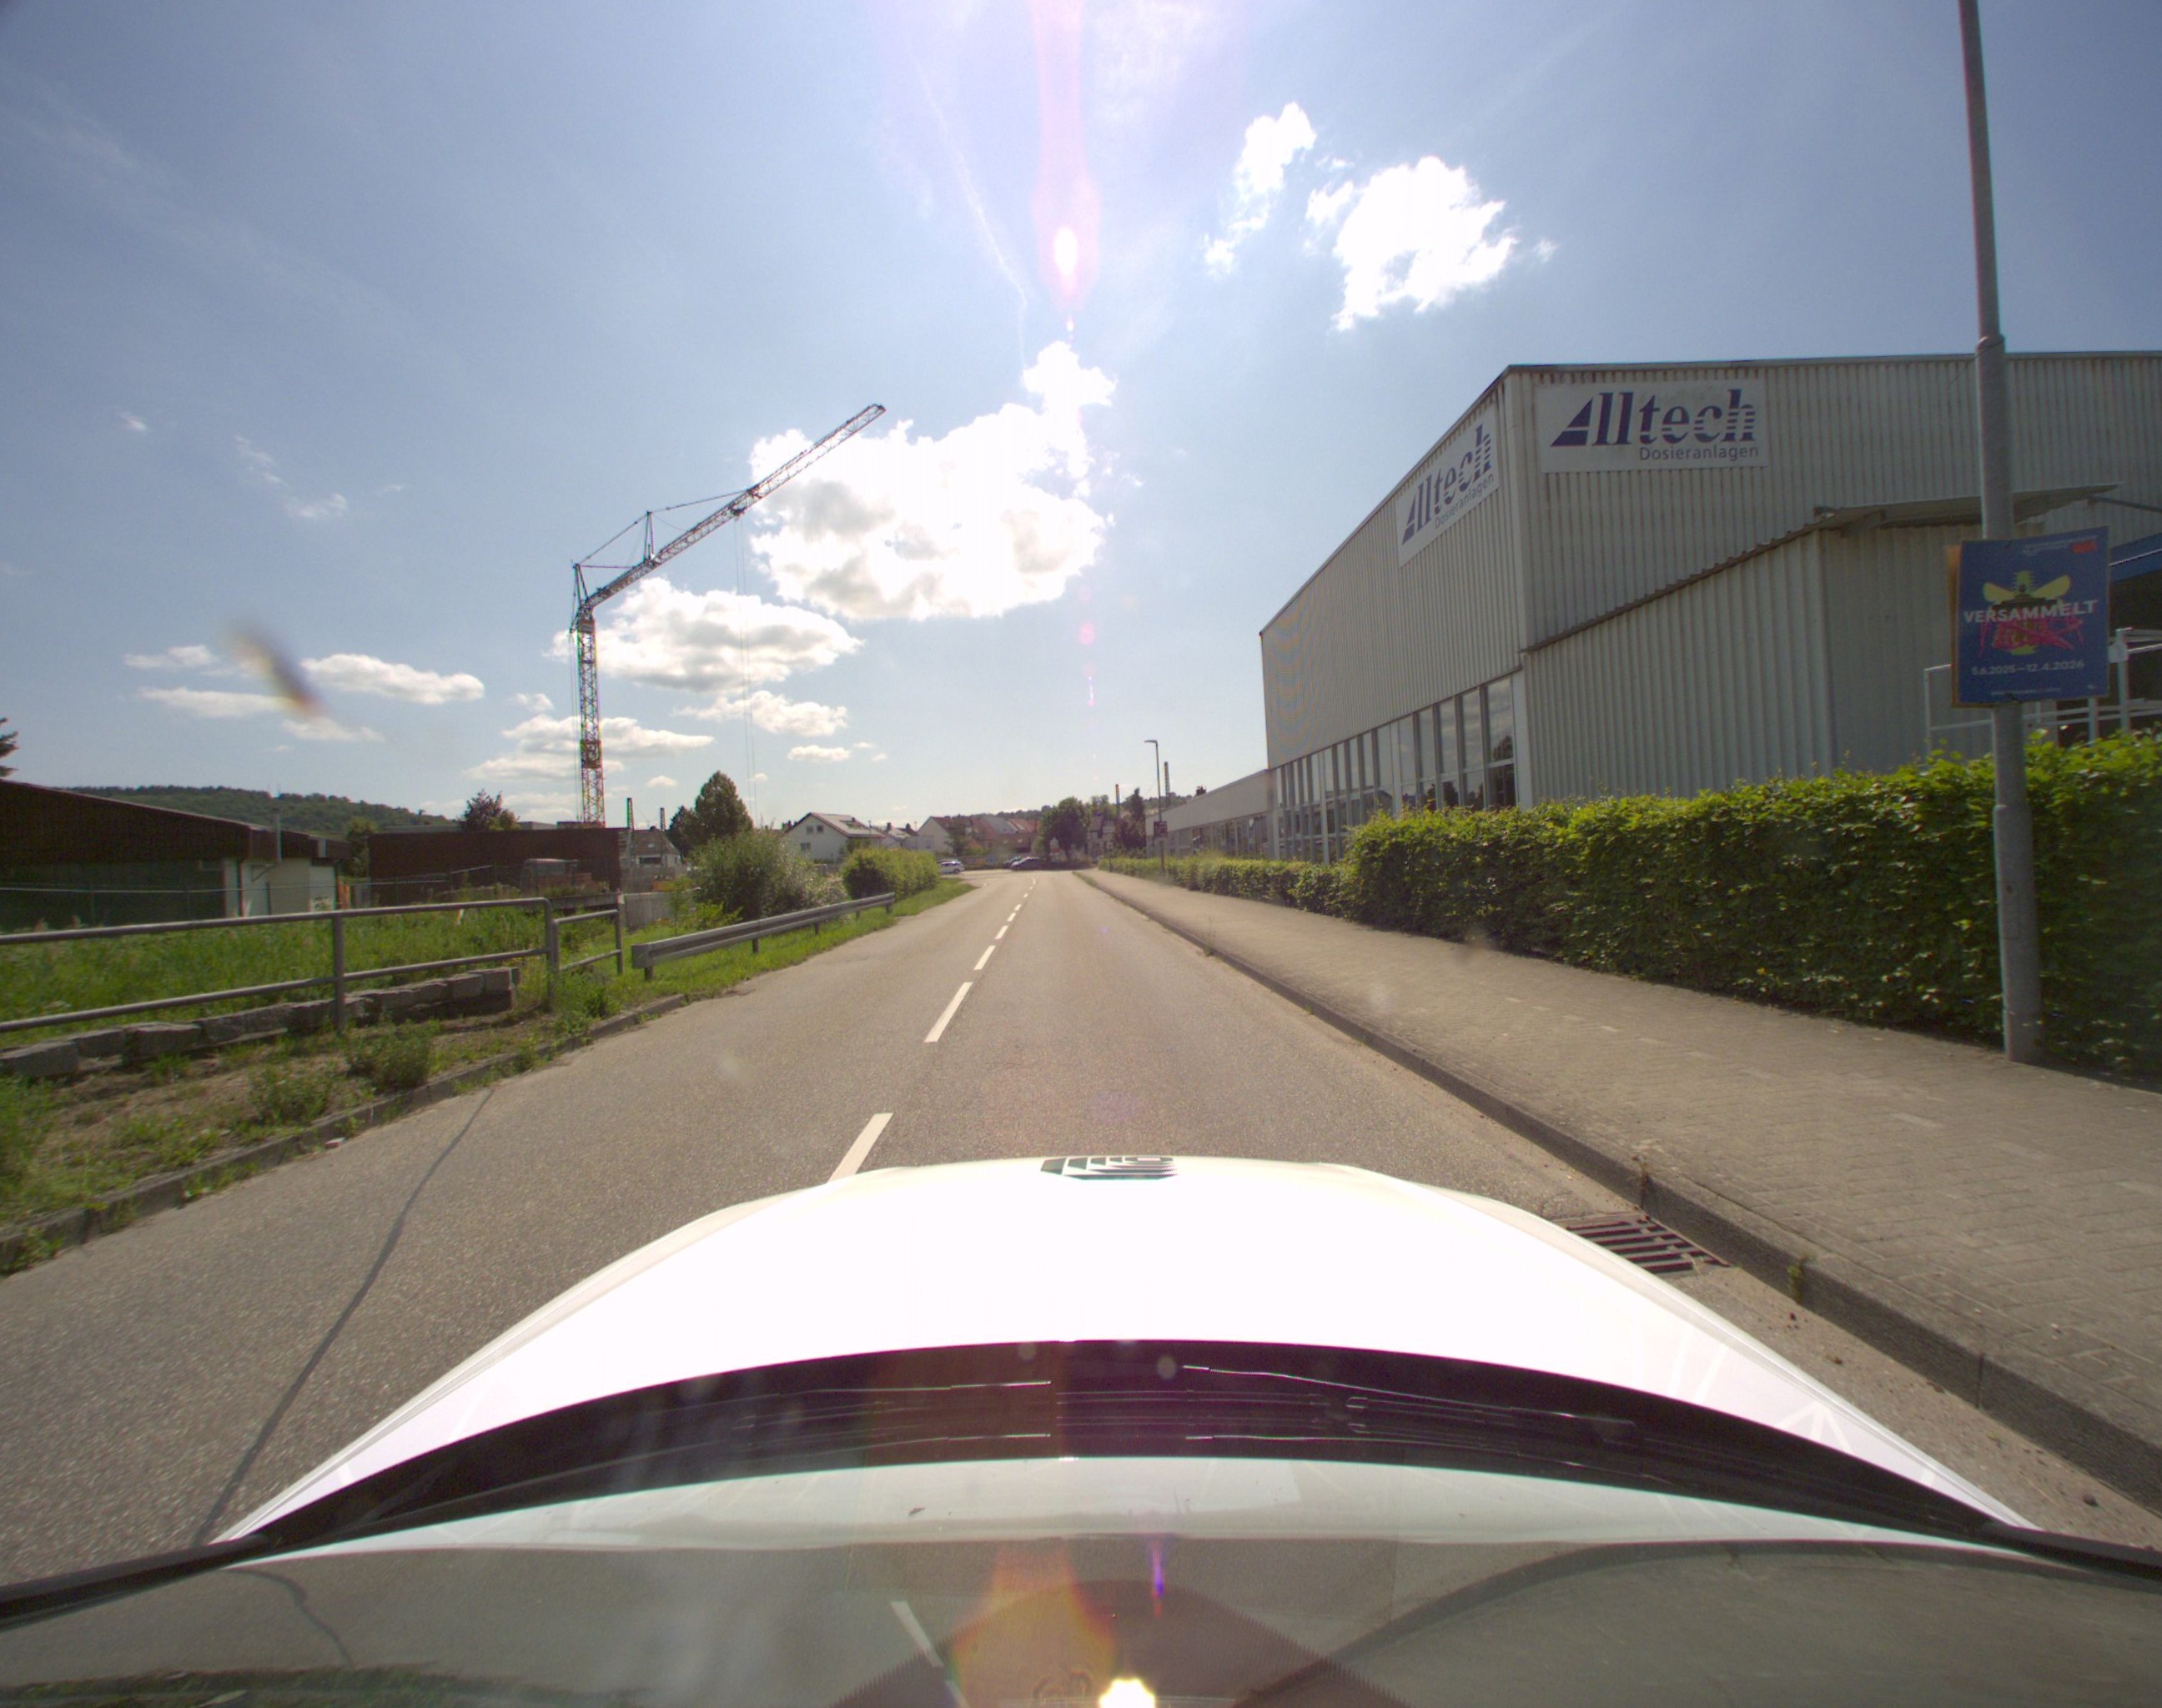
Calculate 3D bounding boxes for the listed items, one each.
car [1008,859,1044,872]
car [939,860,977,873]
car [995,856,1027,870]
[{"bbox_3d":[-6.788,1.412,100.545,4.190,1.463,1.658,-2,-1,-12],"label":"car"},{"bbox_3d":[-14.876,1.511,98.478,4.290,1.477,1.818,-1,-1,-15],"label":"car"},{"bbox_3d":[-9.323,1.199,108.013,3.990,1.730,1.762,-1,-1,-13],"label":"car"}]
